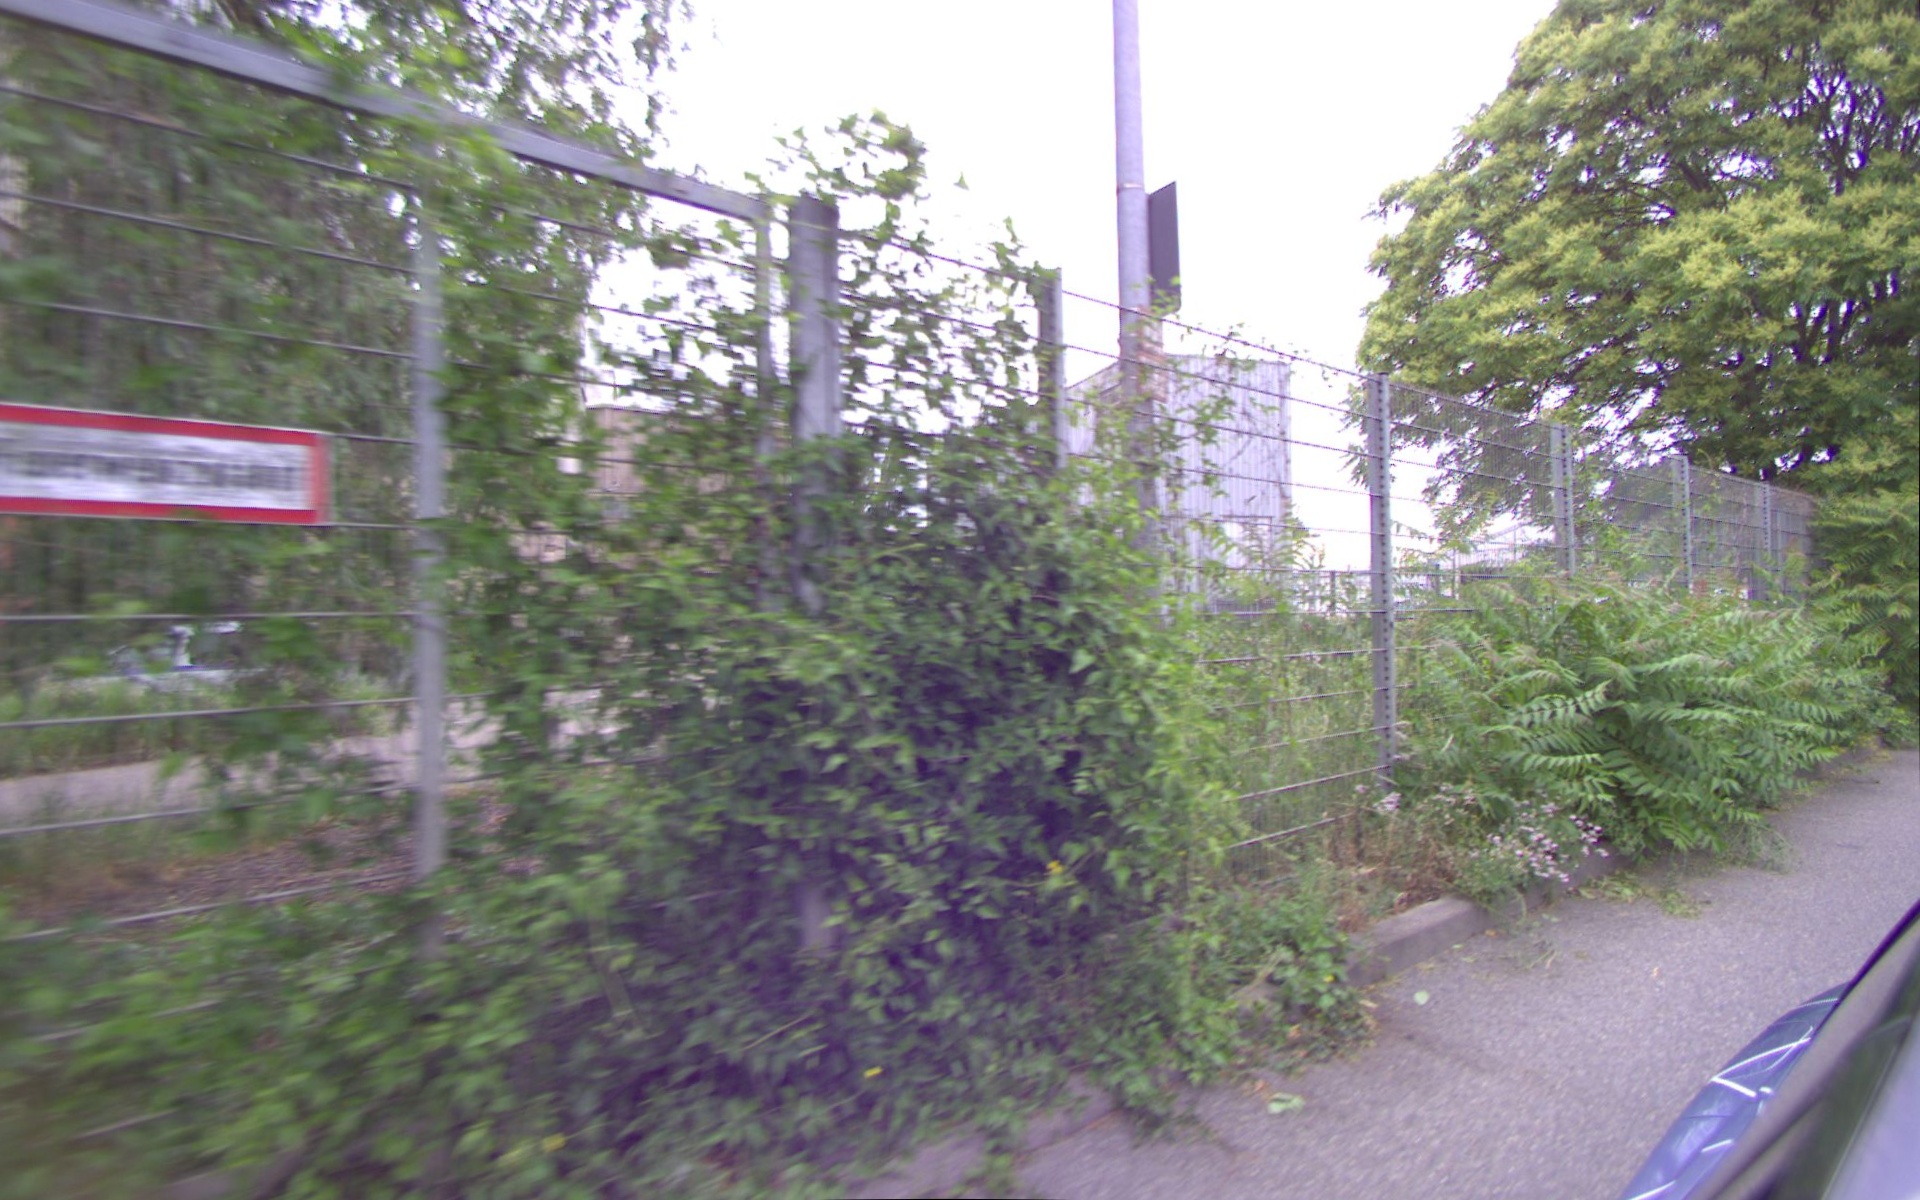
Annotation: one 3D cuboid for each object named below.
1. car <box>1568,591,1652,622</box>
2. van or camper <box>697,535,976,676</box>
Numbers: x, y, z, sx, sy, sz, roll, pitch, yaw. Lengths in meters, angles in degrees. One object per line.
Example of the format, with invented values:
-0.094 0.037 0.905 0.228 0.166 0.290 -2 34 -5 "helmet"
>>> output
43.191 0.430 67.391 1.958 2.039 4.347 0 0 -23 "car"
-5.204 0.175 39.329 5.387 4.588 11.835 -2 0 -38 "van or camper"
